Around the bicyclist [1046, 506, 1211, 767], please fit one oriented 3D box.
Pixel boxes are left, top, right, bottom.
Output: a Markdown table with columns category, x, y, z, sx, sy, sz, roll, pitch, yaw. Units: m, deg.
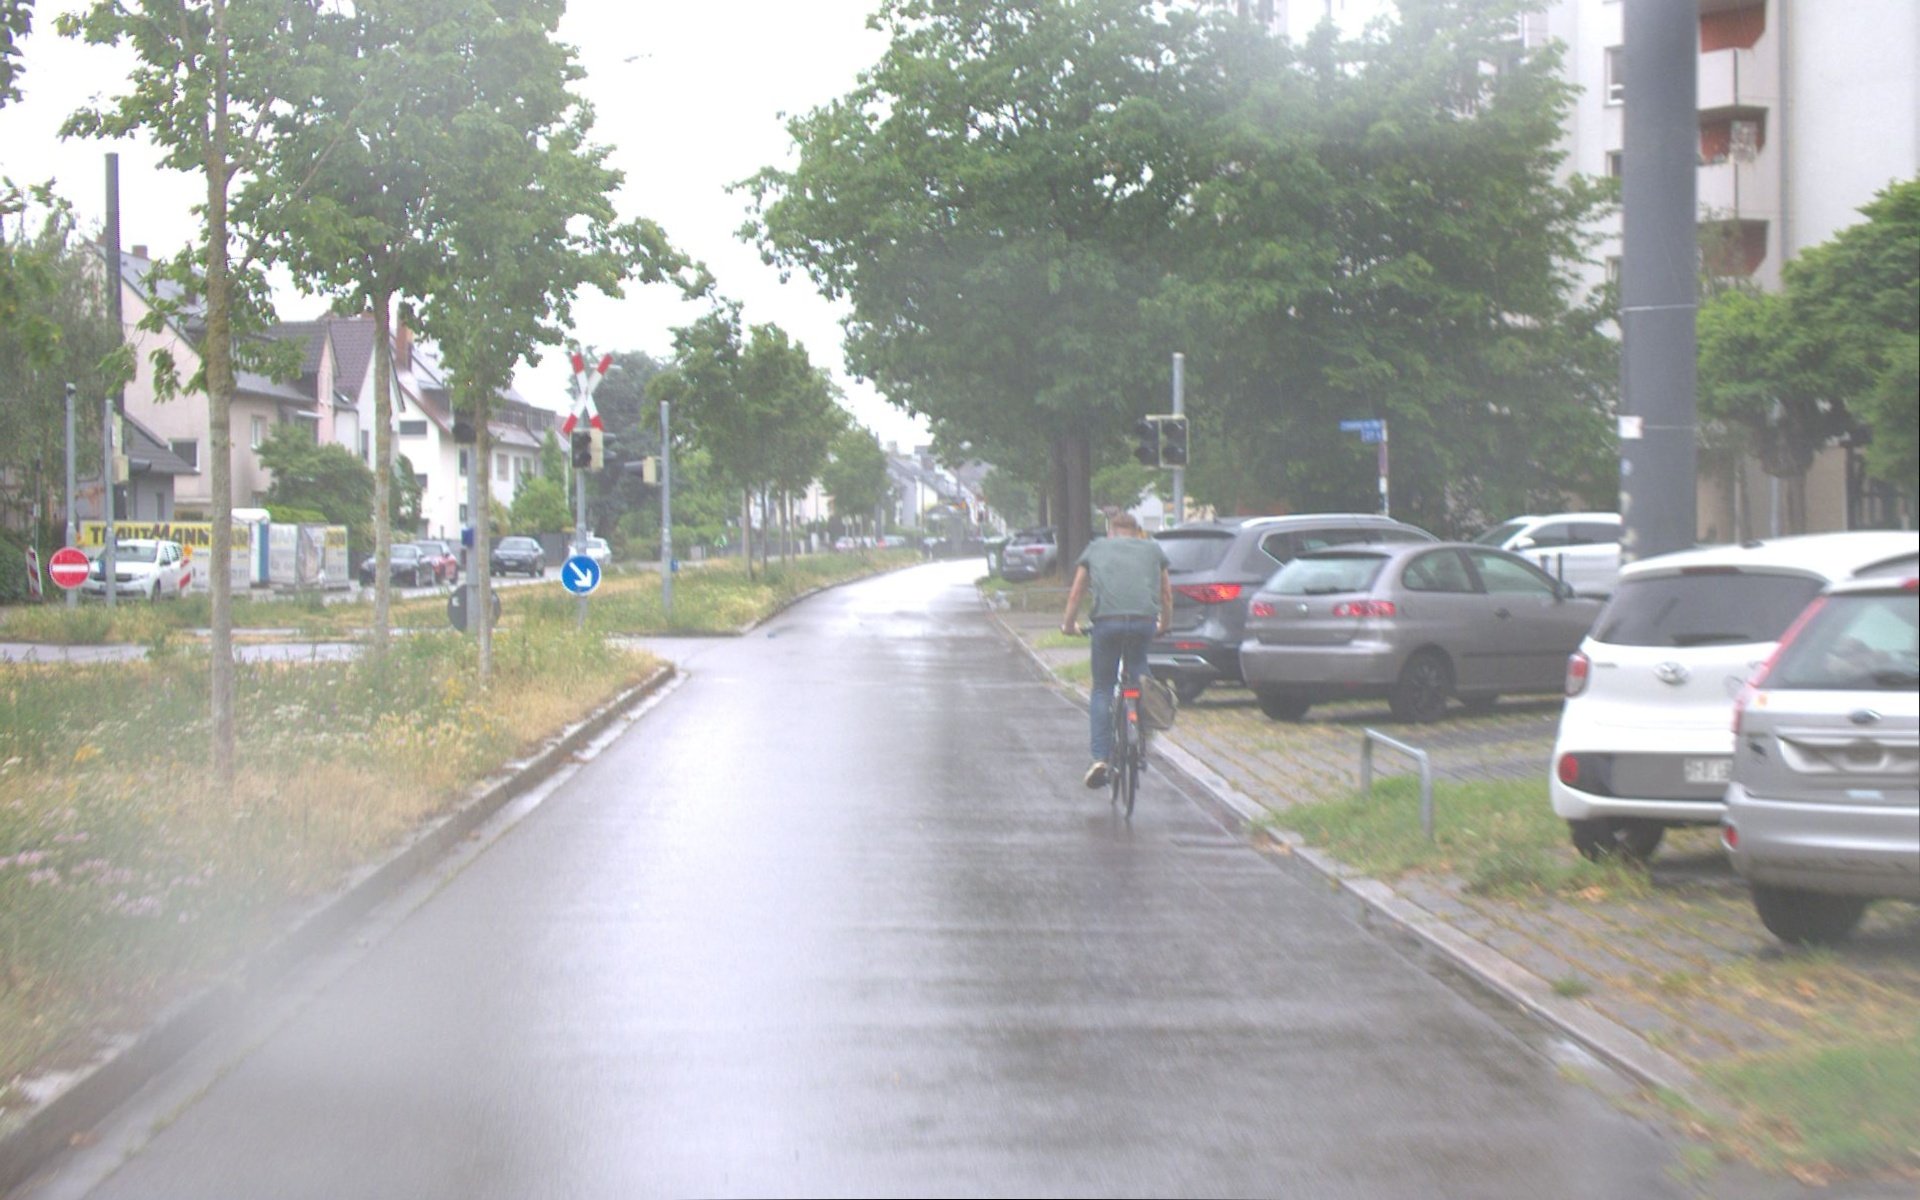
| category | x | y | z | sx | sy | sz | roll | pitch | yaw |
| --- | --- | --- | --- | --- | --- | --- | --- | --- | --- |
| bicyclist | 0.945 | 0.188 | 19.515 | 0.809 | 1.428 | 1.060 | -1 | 1 | -3 |

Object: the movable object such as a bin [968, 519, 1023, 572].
| category | x | y | z | sx | sy | sz | roll | pitch | yaw |
| --- | --- | --- | --- | --- | --- | --- | --- | --- | --- |
| movable object such as a bin | 1.067 | -1.655 | 103.928 | 1.125 | 1.452 | 1.401 | -7 | 4 | -20 |

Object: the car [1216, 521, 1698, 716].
| category | x | y | z | sx | sy | sz | roll | pitch | yaw |
| --- | --- | --- | --- | --- | --- | --- | --- | --- | --- |
| car | 4.113 | 0.099 | 28.095 | 3.989 | 1.424 | 1.734 | -2 | 2 | -42 |

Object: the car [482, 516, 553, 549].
| category | x | y | z | sx | sy | sz | roll | pitch | yaw |
| --- | --- | --- | --- | --- | --- | --- | --- | --- | --- |
| car | -17.471 | -2.681 | 135.917 | 1.897 | 1.240 | 4.687 | 2 | 2 | 3 |

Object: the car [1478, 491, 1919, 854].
| category | x | y | z | sx | sy | sz | roll | pitch | yaw |
| --- | --- | --- | --- | --- | --- | --- | --- | --- | --- |
| car | 4.454 | 0.264 | 16.239 | 3.989 | 1.503 | 1.705 | -2 | 0 | -40 |

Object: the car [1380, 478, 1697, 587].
| category | x | y | z | sx | sy | sz | roll | pitch | yaw |
| --- | --- | --- | --- | --- | --- | --- | --- | --- | --- |
| car | 9.602 | -1.135 | 57.166 | 4.801 | 1.739 | 2.001 | -1 | 1 | -15 |

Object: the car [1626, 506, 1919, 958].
| category | x | y | z | sx | sy | sz | roll | pitch | yaw |
| --- | --- | --- | --- | --- | --- | --- | --- | --- | --- |
| car | 4.562 | 0.386 | 12.912 | 3.988 | 1.503 | 1.784 | -2 | 0 | -37 |

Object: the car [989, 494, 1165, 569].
| category | x | y | z | sx | sy | sz | roll | pitch | yaw |
| --- | --- | --- | --- | --- | --- | --- | --- | --- | --- |
| car | 3.063 | -1.812 | 89.842 | 4.135 | 1.713 | 2.000 | -4 | 3 | -31 |

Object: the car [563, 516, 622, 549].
| category | x | y | z | sx | sy | sz | roll | pitch | yaw |
| --- | --- | --- | --- | --- | --- | --- | --- | --- | --- |
| car | -16.877 | -3.119 | 158.192 | 1.897 | 1.464 | 4.687 | 2 | 2 | 3 |

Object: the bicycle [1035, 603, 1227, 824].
| category | x | y | z | sx | sy | sz | roll | pitch | yaw |
| --- | --- | --- | --- | --- | --- | --- | --- | --- | --- |
| bicycle | 0.939 | 0.604 | 19.589 | 0.809 | 1.093 | 2.518 | -1 | 2 | -3 |

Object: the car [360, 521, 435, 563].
| category | x | y | z | sx | sy | sz | roll | pitch | yaw |
| --- | --- | --- | --- | --- | --- | --- | --- | --- | --- |
| car | -17.970 | -1.872 | 109.994 | 1.663 | 1.240 | 4.072 | 2 | 2 | 1 |

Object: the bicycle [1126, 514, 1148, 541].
| category | x | y | z | sx | sy | sz | roll | pitch | yaw |
| --- | --- | --- | --- | --- | --- | --- | --- | --- | --- |
| bicycle | 6.815 | -2.806 | 132.804 | 0.734 | 1.053 | 2.051 | -1 | 2 | 0 |

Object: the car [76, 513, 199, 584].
| category | x | y | z | sx | sy | sz | roll | pitch | yaw |
| --- | --- | --- | --- | --- | --- | --- | --- | --- | --- |
| car | -19.235 | -1.223 | 80.572 | 1.710 | 1.537 | 4.422 | 2 | 2 | 1 |

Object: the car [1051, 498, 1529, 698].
| category | x | y | z | sx | sy | sz | roll | pitch | yaw |
| --- | --- | --- | --- | --- | --- | --- | --- | --- | --- |
| car | 3.048 | -0.071 | 31.223 | 4.338 | 1.645 | 1.857 | -2 | 2 | -42 |
